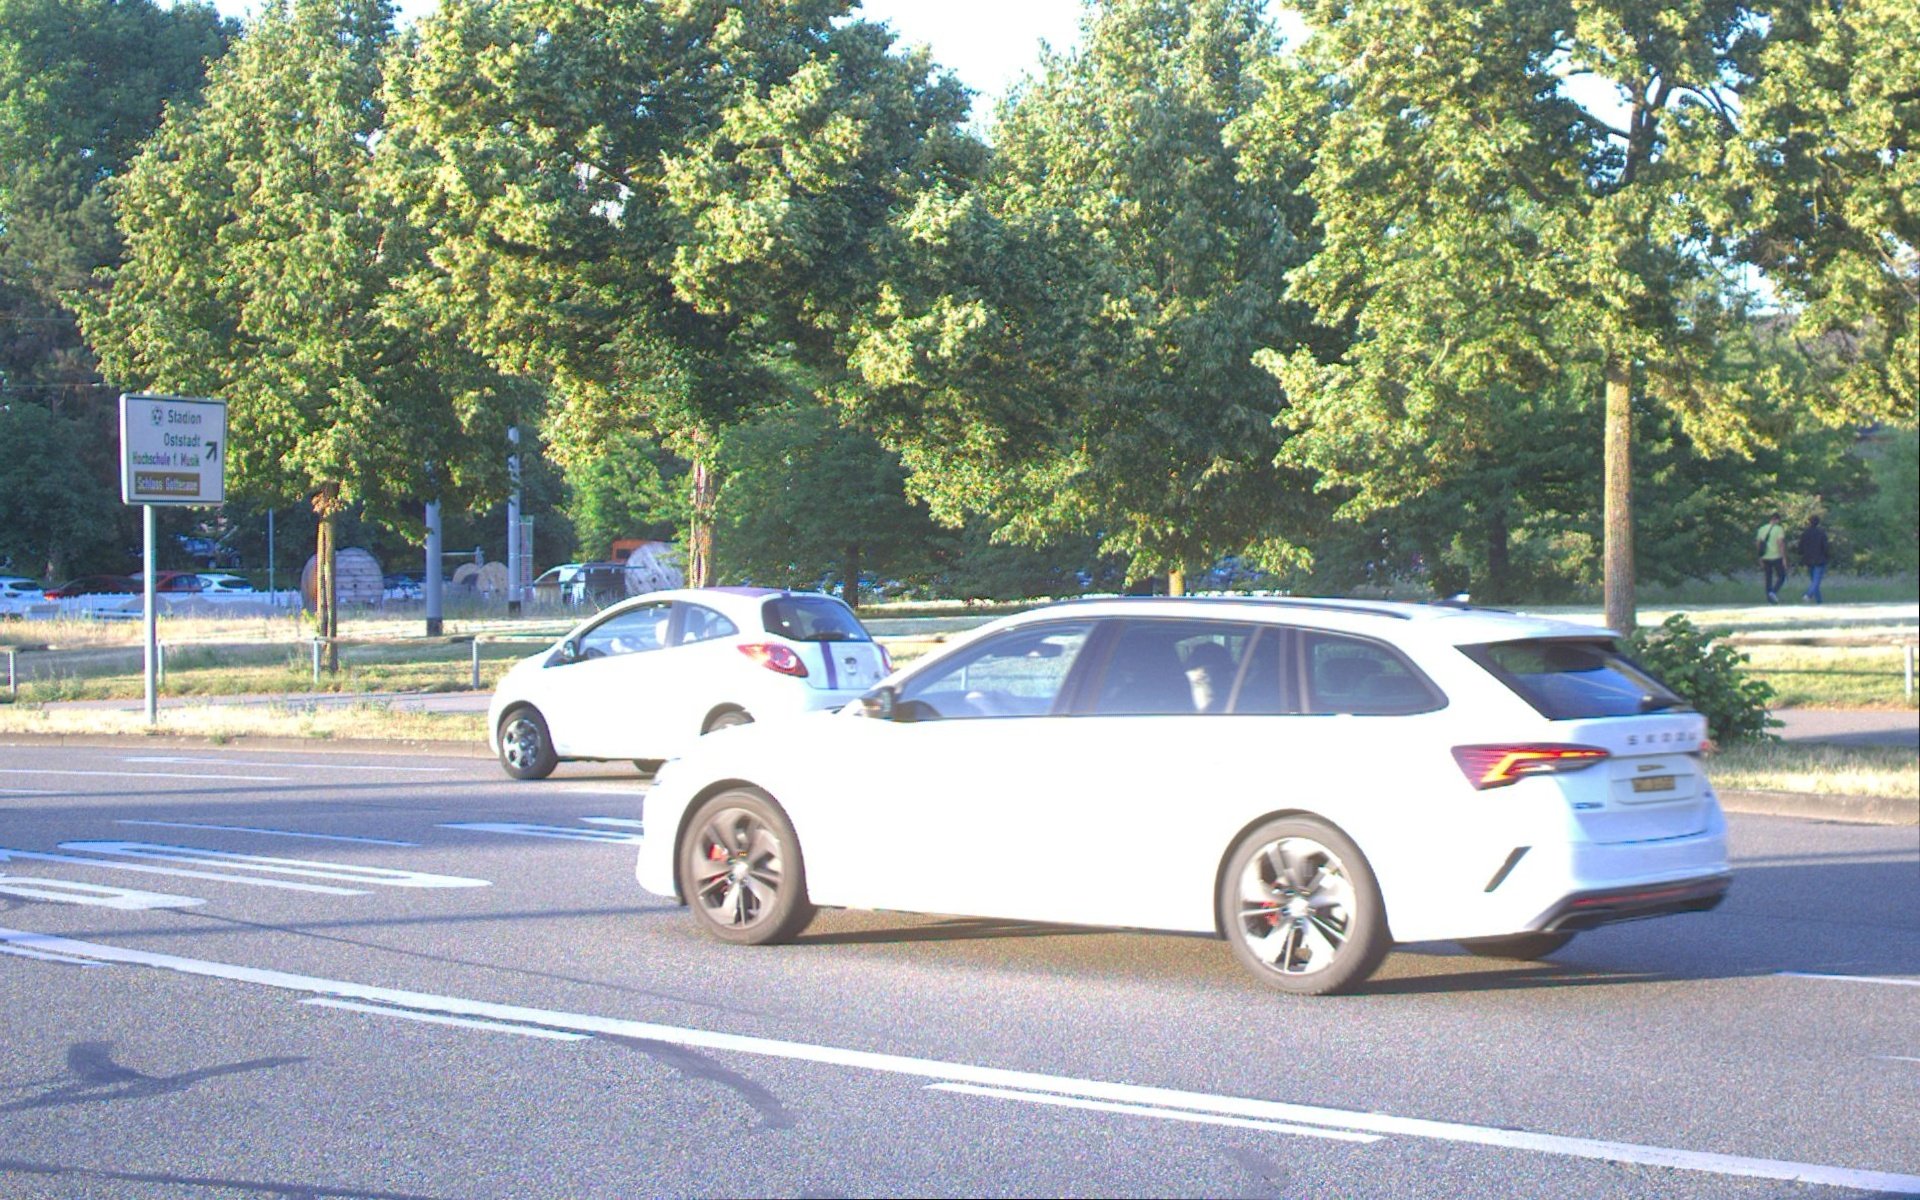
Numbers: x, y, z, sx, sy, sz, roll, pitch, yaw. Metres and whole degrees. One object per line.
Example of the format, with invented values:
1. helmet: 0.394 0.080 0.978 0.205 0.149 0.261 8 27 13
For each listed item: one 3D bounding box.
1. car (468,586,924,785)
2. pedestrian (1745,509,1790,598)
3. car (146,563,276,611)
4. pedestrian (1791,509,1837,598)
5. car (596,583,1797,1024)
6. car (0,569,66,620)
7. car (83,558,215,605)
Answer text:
1. car: -2.084 0.615 26.647 3.484 1.438 1.550 0 0 42
2. pedestrian: 14.849 -0.851 63.217 0.579 1.621 0.533 -1 1 -31
3. car: -25.268 -0.448 115.939 3.994 1.545 1.997 0 1 31
4. pedestrian: 15.646 -0.851 62.974 0.618 1.621 0.530 -1 1 -30
5. car: 0.835 0.683 13.711 4.544 1.444 1.724 0 2 36
6. car: -30.219 -0.177 107.745 3.994 1.545 1.997 0 1 31
7. car: -26.917 -0.624 114.079 3.994 1.545 1.997 0 1 31
